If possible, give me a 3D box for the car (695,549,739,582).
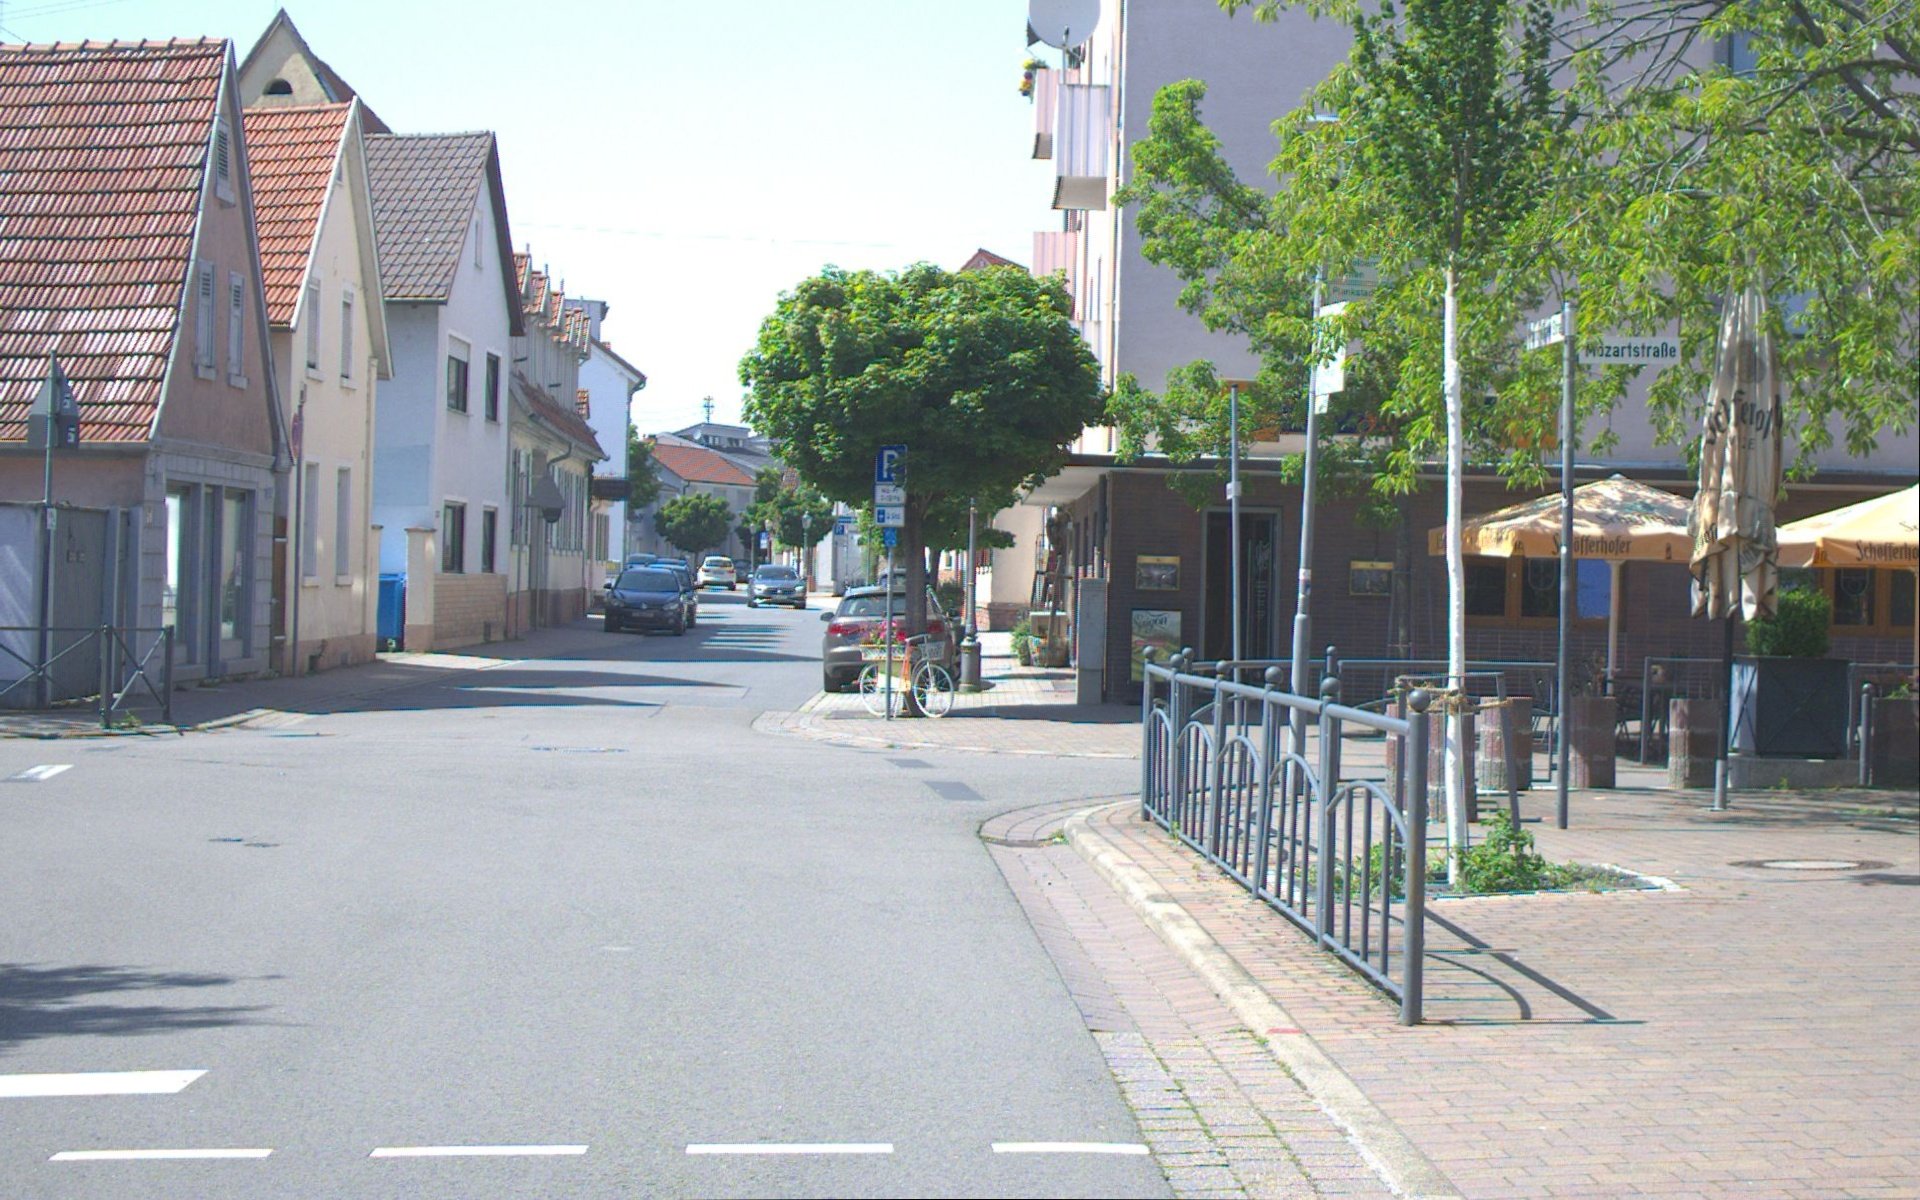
[{"bbox_3d":[-12.010,-1.723,169.983,2.027,1.592,4.509,1,1,-3],"label":"car"}]

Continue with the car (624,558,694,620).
[{"bbox_3d":[-7.390,-0.288,84.742,1.663,1.471,3.451,1,1,-4],"label":"car"}]

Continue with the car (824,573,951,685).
[{"bbox_3d":[-0.961,0.372,47.188,1.576,1.449,3.486,1,0,1],"label":"car"}]

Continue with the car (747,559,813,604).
[{"bbox_3d":[-6.142,-0.614,116.855,1.909,1.476,4.845,1,0,-7],"label":"car"}]

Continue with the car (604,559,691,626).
[{"bbox_3d":[-7.084,-0.188,78.188,1.663,1.471,4.135,1,1,-1],"label":"car"}]

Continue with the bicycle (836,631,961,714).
[{"bbox_3d":[-0.693,0.810,38.566,1.412,0.894,0.464,0,1,36],"label":"bicycle"}]

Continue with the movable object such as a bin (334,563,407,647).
[{"bbox_3d":[-9.731,0.084,56.768,1.102,1.361,0.390,1,0,3],"label":"movable object such as a bin"}]

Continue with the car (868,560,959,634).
[{"bbox_3d":[-1.086,-0.092,81.055,2.043,1.683,4.842,1,1,-1],"label":"car"}]
